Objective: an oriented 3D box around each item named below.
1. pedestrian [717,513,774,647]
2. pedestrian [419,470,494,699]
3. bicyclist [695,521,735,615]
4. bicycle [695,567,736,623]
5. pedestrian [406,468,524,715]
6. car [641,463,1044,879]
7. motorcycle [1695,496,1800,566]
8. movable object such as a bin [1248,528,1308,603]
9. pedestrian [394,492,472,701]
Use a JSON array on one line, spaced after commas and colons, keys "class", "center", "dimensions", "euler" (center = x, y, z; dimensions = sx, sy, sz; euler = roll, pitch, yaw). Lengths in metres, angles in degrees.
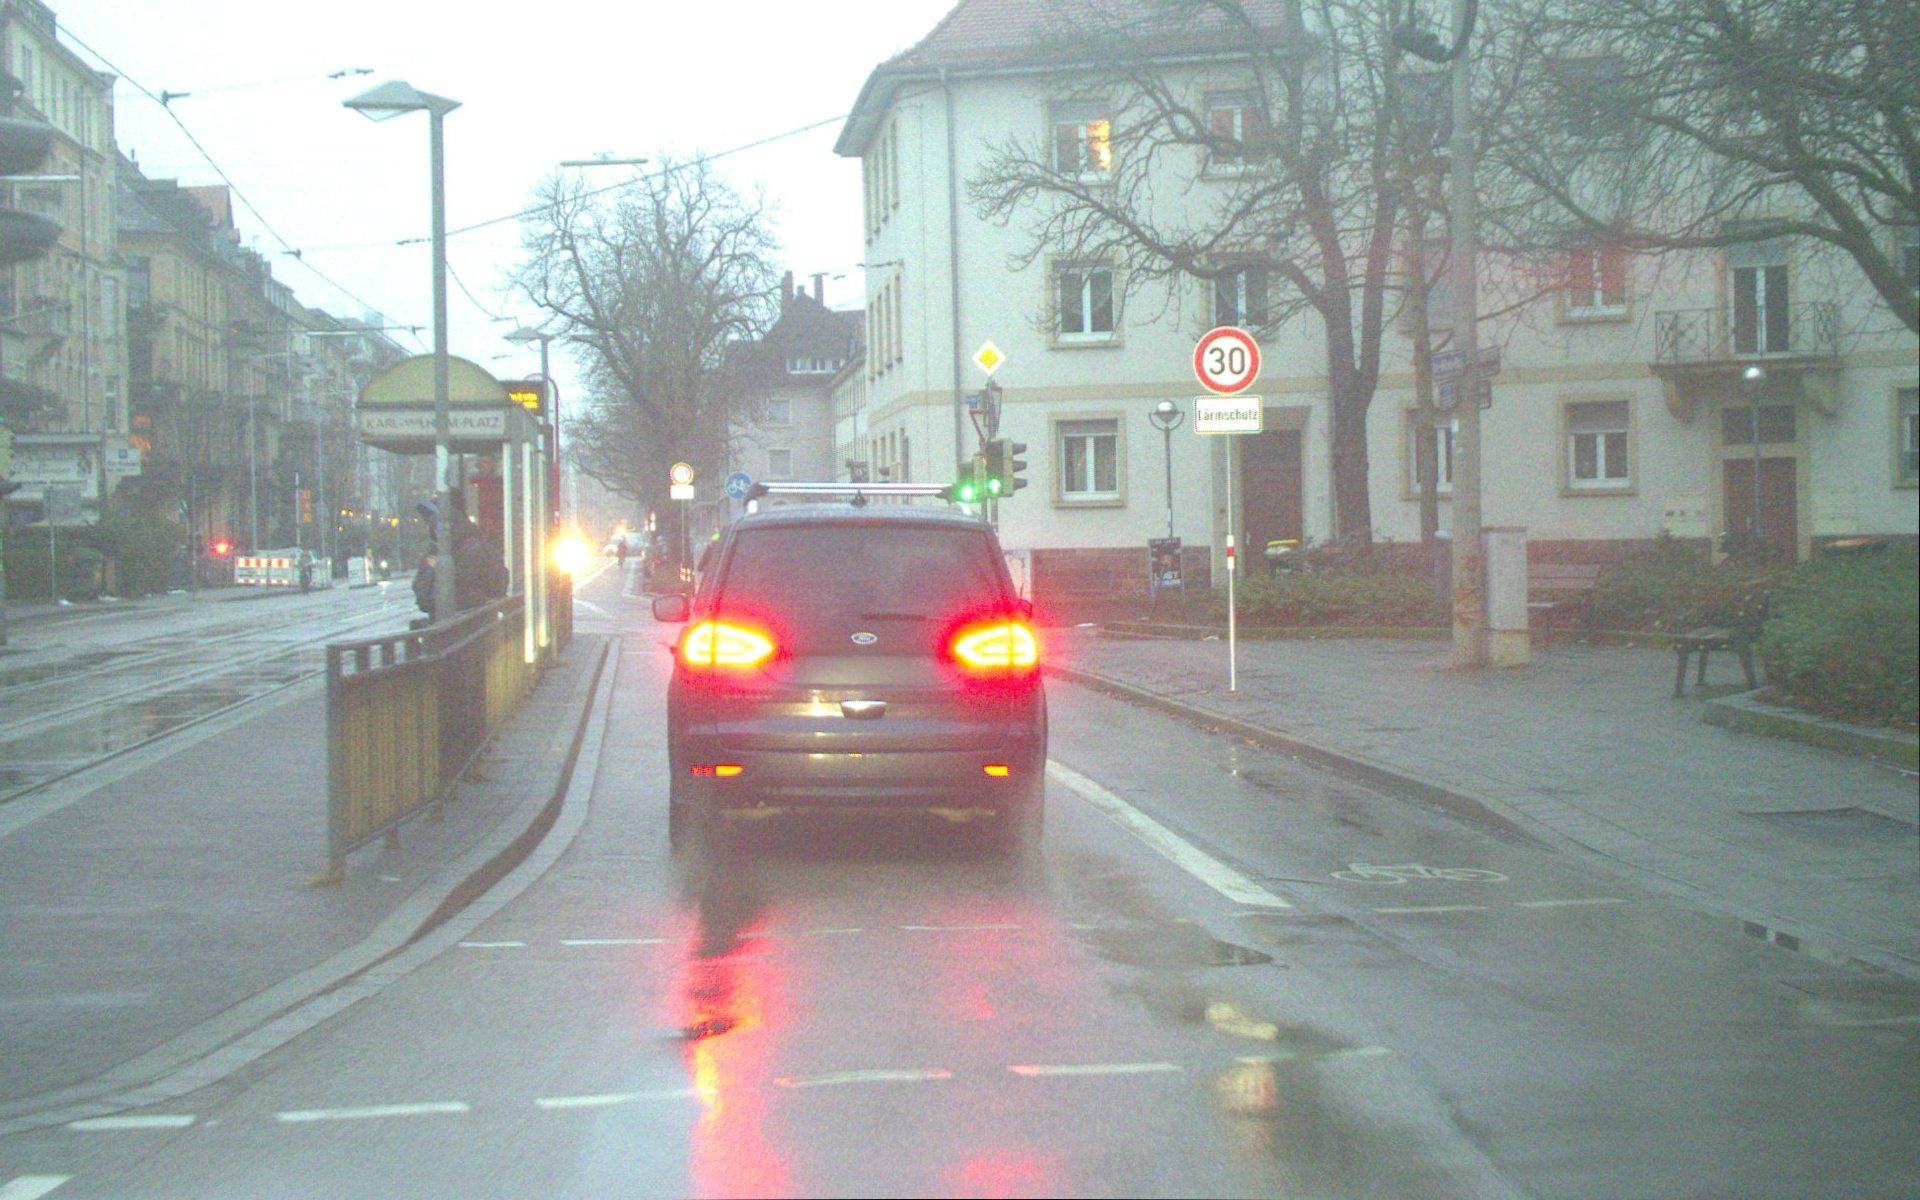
[{"class": "pedestrian", "center": [-3.133, -0.296, 50.092], "dimensions": [0.715, 1.911, 0.689], "euler": [2, 1, -8]}, {"class": "pedestrian", "center": [-4.432, -0.141, 30.267], "dimensions": [0.557, 1.980, 0.571], "euler": [2, 1, -4]}, {"class": "bicyclist", "center": [-4.546, -0.600, 63.761], "dimensions": [0.730, 1.730, 0.766], "euler": [-1, 1, -4]}, {"class": "bicycle", "center": [-4.530, -0.094, 63.738], "dimensions": [0.731, 1.003, 1.764], "euler": [-1, 1, -4]}, {"class": "pedestrian", "center": [-3.984, -0.071, 27.711], "dimensions": [0.853, 1.949, 0.571], "euler": [2, 1, -4]}, {"class": "car", "center": [-0.671, 0.297, 17.865], "dimensions": [1.801, 1.864, 4.019], "euler": [2, 1, -4]}, {"class": "motorcycle", "center": [12.852, -1.118, 56.109], "dimensions": [0.568, 1.101, 1.602], "euler": [-5, 4, -41]}, {"class": "movable object such as a bin", "center": [5.439, -0.585, 58.807], "dimensions": [0.853, 1.247, 0.521], "euler": [2, 1, 37]}, {"class": "pedestrian", "center": [-4.460, -0.032, 29.118], "dimensions": [0.557, 1.735, 0.571], "euler": [2, 1, -4]}]
